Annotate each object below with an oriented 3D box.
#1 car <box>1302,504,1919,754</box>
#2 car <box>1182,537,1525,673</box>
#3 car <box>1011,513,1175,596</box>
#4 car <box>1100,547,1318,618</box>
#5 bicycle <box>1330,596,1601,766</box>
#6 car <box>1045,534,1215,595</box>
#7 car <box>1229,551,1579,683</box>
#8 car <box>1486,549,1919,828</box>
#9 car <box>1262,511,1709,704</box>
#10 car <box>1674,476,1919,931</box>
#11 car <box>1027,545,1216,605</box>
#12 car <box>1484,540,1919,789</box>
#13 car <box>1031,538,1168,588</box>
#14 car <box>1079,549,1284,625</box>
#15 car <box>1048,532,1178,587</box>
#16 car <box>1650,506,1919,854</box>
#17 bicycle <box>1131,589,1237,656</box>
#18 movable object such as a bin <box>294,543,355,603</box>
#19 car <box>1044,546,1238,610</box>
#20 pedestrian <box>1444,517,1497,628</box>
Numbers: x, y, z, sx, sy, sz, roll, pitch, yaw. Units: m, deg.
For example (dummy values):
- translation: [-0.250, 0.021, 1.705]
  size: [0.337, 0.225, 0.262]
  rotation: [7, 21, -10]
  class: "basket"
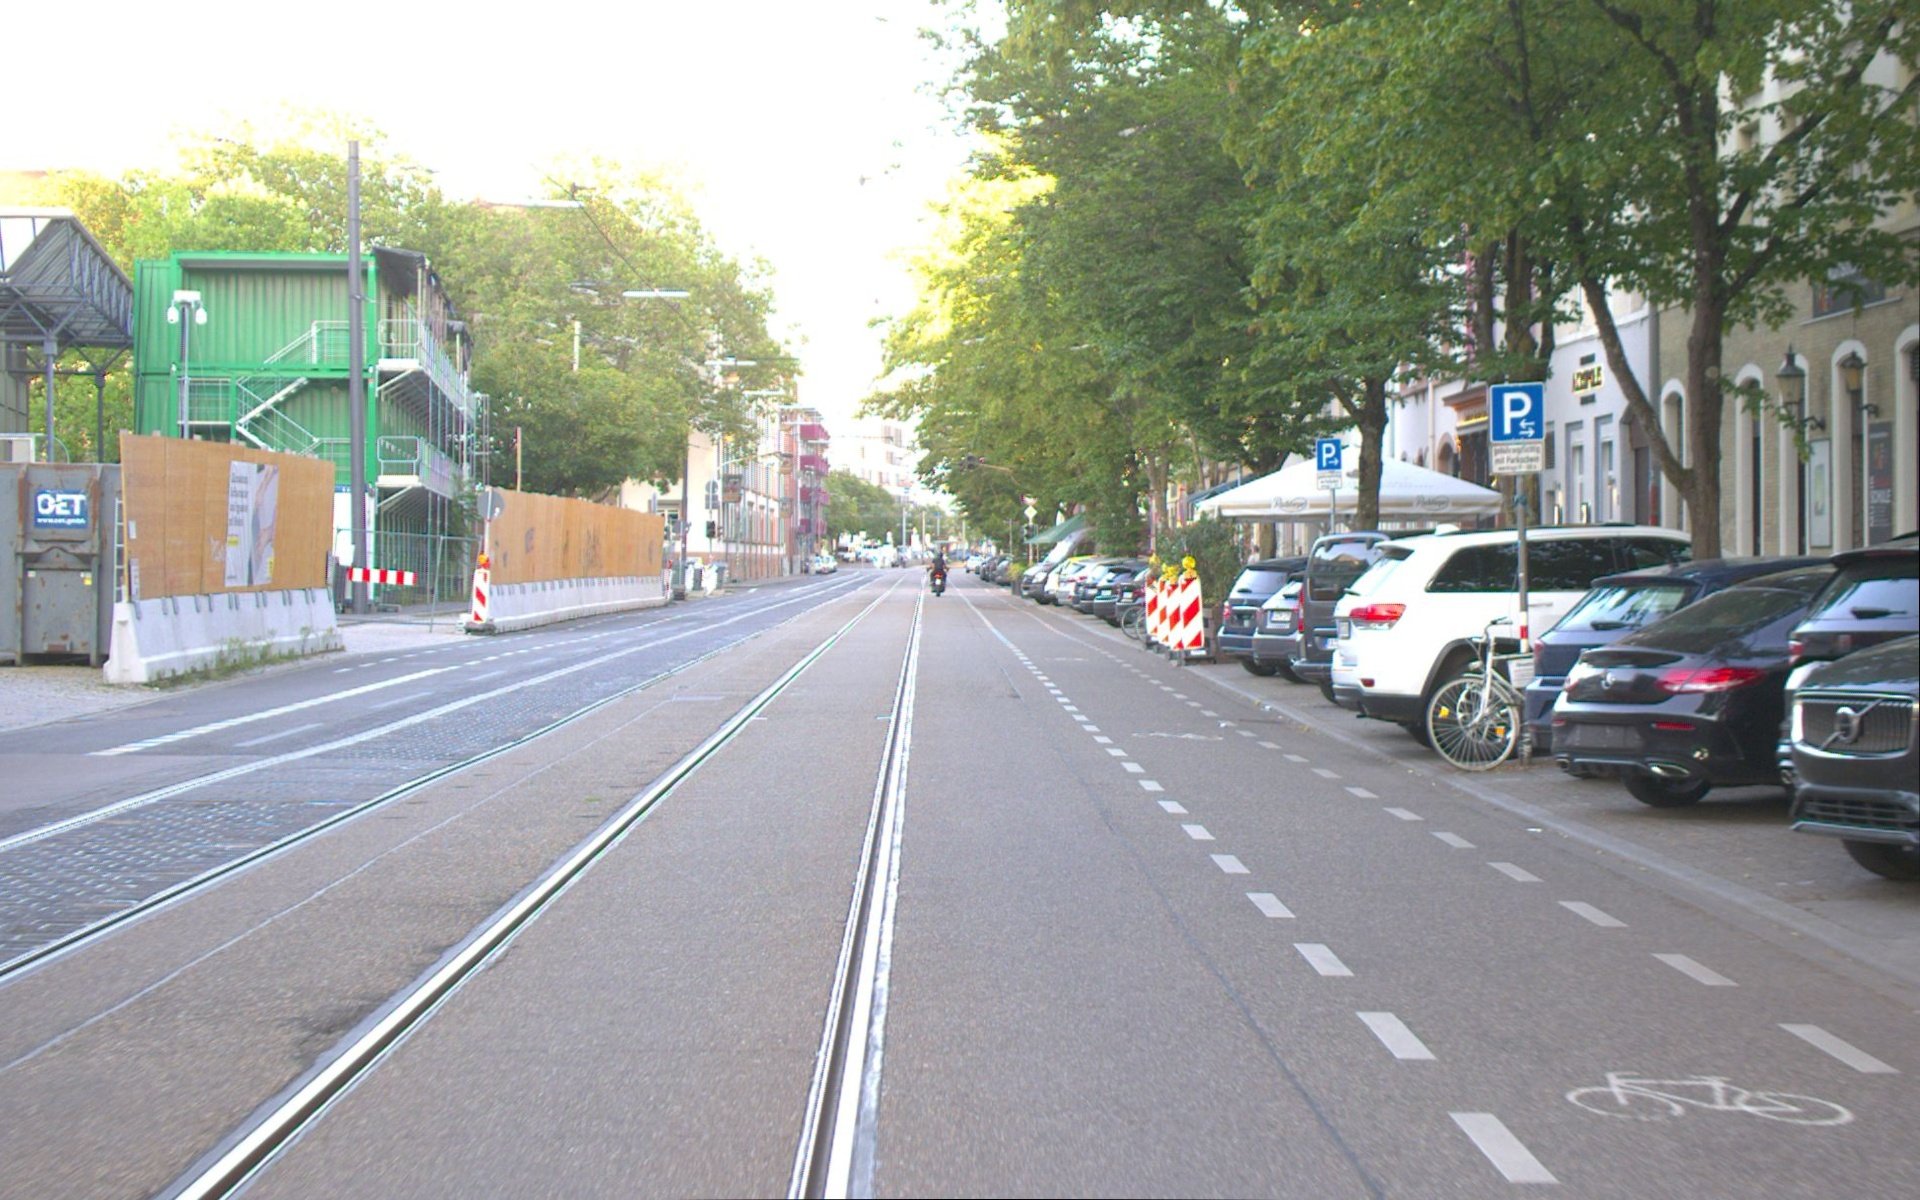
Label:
- translation: [5.147, 0.193, 26.826]
  size: [4.648, 1.682, 2.008]
  rotation: [-3, 1, -2]
  class: "car"
- translation: [4.976, 0.048, 43.444]
  size: [3.961, 1.548, 1.706]
  rotation: [-2, 1, -25]
  class: "car"
- translation: [4.490, -1.535, 116.206]
  size: [5.093, 2.633, 2.022]
  rotation: [-2, 0, -17]
  class: "car"
- translation: [5.197, -0.381, 71.792]
  size: [4.160, 1.422, 1.824]
  rotation: [-1, 1, -19]
  class: "car"
- translation: [3.651, 0.571, 24.835]
  size: [1.835, 1.099, 0.498]
  rotation: [-3, 2, -14]
  class: "bicycle"
- translation: [4.642, -0.964, 94.177]
  size: [4.249, 1.543, 2.020]
  rotation: [-2, 0, -11]
  class: "car"
- translation: [5.297, 0.183, 41.001]
  size: [3.772, 1.403, 1.706]
  rotation: [-2, 1, -25]
  class: "car"
- translation: [5.477, 0.436, 20.361]
  size: [4.211, 1.422, 1.976]
  rotation: [-3, 1, -22]
  class: "car"
- translation: [5.431, 0.051, 35.493]
  size: [4.147, 1.800, 2.008]
  rotation: [-2, 1, -29]
  class: "car"
- translation: [5.943, 0.282, 15.147]
  size: [4.962, 1.820, 2.209]
  rotation: [-3, 1, -18]
  class: "car"
- translation: [4.039, -0.627, 85.996]
  size: [4.249, 1.387, 2.016]
  rotation: [-2, 1, -23]
  class: "car"
- translation: [5.606, 0.376, 23.064]
  size: [3.746, 1.422, 1.728]
  rotation: [-3, 1, -25]
  class: "car"
- translation: [4.514, -1.211, 111.418]
  size: [3.949, 1.481, 1.921]
  rotation: [-2, 0, -24]
  class: "car"
- translation: [4.941, -0.300, 76.654]
  size: [4.115, 1.465, 1.824]
  rotation: [-3, 1, -18]
  class: "car"
- translation: [4.765, -1.262, 107.586]
  size: [3.950, 1.614, 1.921]
  rotation: [-2, 0, 0]
  class: "car"
- translation: [6.022, 0.283, 18.060]
  size: [4.211, 1.643, 1.976]
  rotation: [-3, 1, -18]
  class: "car"
- translation: [3.771, 0.381, 57.915]
  size: [1.678, 1.028, 0.557]
  rotation: [-3, 1, -2]
  class: "bicycle"
- translation: [-14.749, -0.629, 79.840]
  size: [1.306, 1.365, 0.784]
  rotation: [0, 1, -4]
  class: "movable object such as a bin"
- translation: [4.283, -0.546, 81.438]
  size: [4.115, 1.465, 2.016]
  rotation: [-1, 1, -25]
  class: "car"
- translation: [8.143, -0.444, 54.835]
  size: [0.550, 1.757, 0.853]
  rotation: [0, 1, -13]
  class: "pedestrian"
